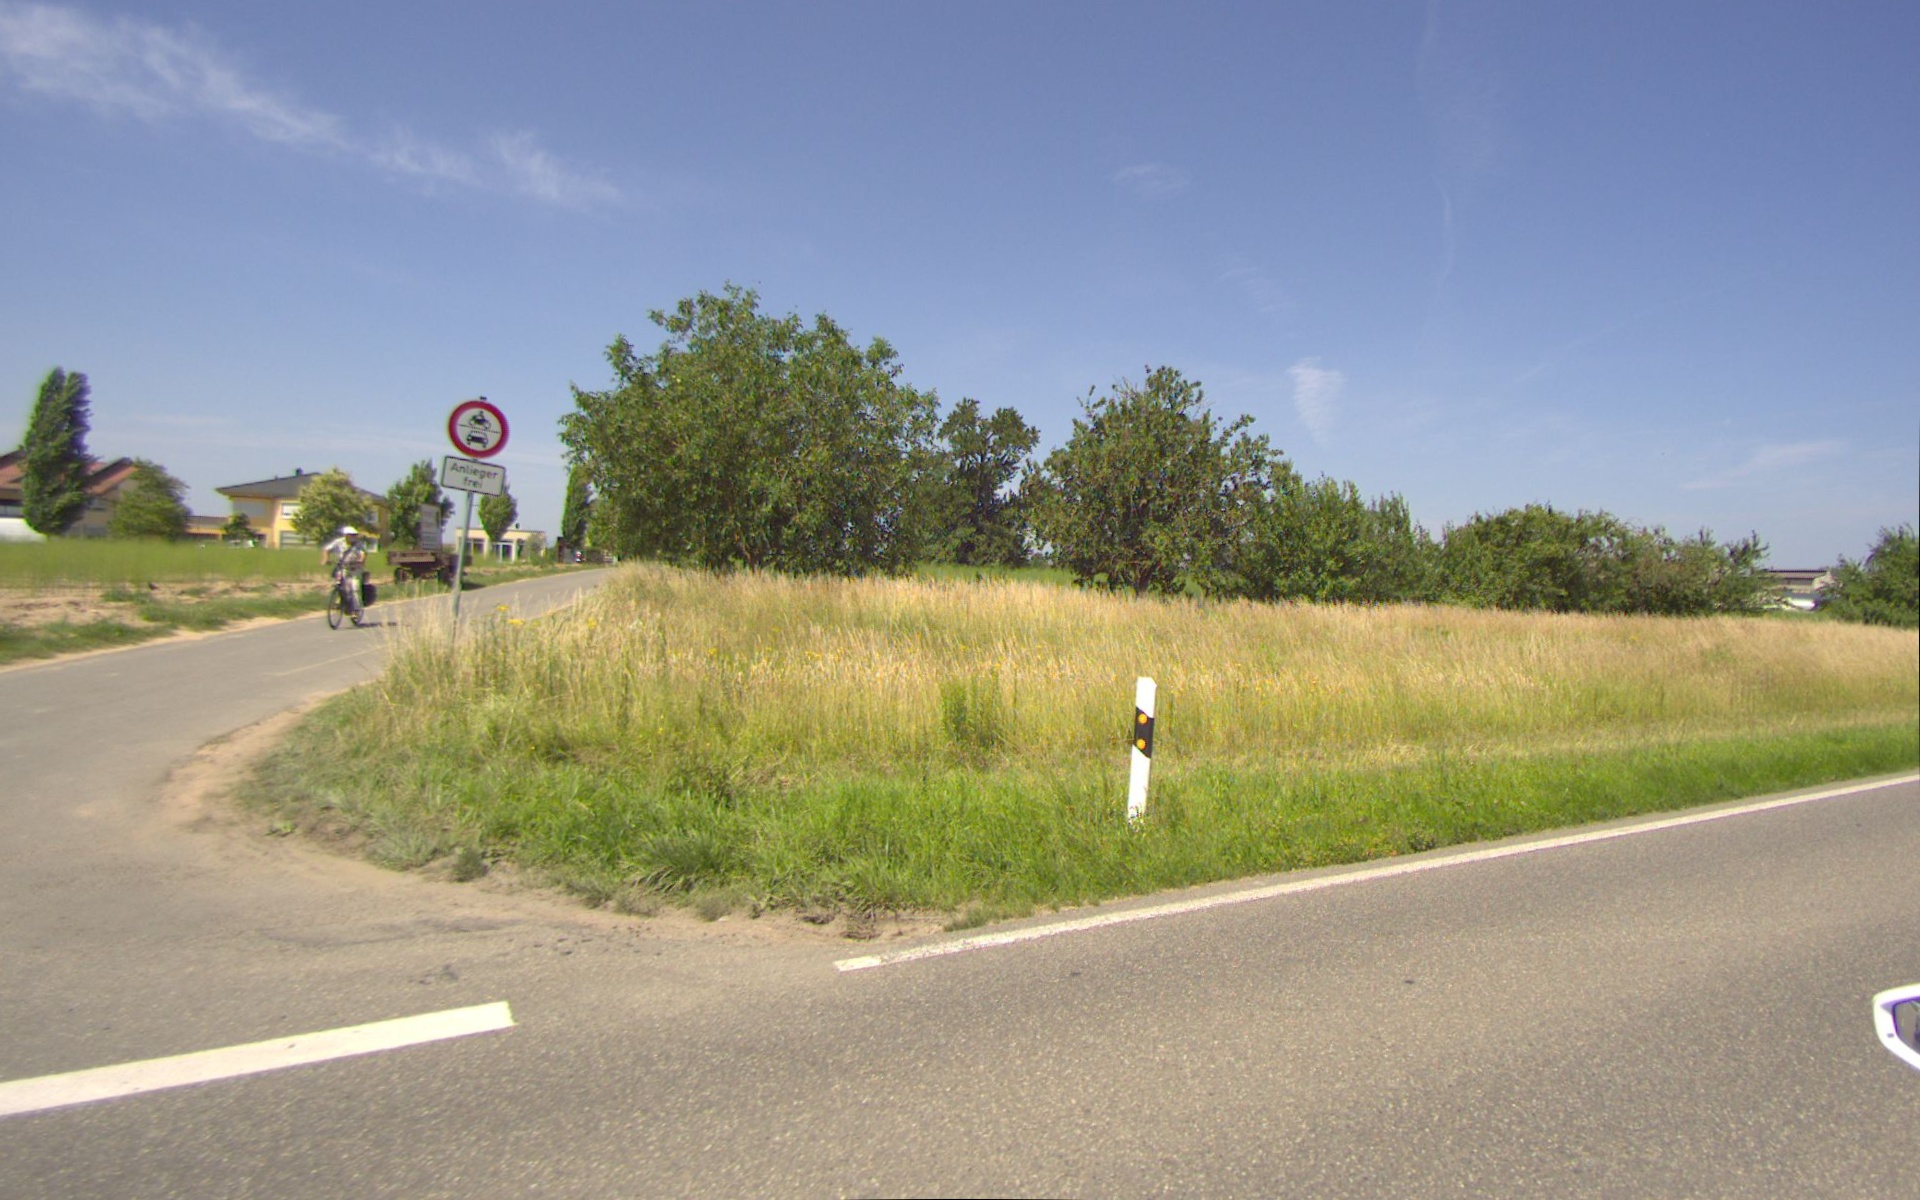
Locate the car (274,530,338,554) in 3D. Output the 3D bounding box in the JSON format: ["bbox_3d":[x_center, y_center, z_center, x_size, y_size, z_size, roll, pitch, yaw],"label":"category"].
[{"bbox_3d":[-50.308,-4.448,77.302,3.952,1.559,1.857,2,2,-29],"label":"car"}]

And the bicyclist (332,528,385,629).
[{"bbox_3d":[-10.966,-0.396,18.331,0.652,1.781,0.699,2,2,-17],"label":"bicyclist"}]

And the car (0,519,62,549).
[{"bbox_3d":[-70.672,-4.977,74.737,5.427,2.089,1.860,2,2,-24],"label":"car"}]

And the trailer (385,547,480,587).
[{"bbox_3d":[-17.167,-1.053,32.878,1.968,1.154,3.985,2,1,-17],"label":"trailer"}]

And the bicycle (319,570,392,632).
[{"bbox_3d":[-10.976,-0.006,18.312,0.671,1.005,1.917,2,2,-17],"label":"bicycle"}]
